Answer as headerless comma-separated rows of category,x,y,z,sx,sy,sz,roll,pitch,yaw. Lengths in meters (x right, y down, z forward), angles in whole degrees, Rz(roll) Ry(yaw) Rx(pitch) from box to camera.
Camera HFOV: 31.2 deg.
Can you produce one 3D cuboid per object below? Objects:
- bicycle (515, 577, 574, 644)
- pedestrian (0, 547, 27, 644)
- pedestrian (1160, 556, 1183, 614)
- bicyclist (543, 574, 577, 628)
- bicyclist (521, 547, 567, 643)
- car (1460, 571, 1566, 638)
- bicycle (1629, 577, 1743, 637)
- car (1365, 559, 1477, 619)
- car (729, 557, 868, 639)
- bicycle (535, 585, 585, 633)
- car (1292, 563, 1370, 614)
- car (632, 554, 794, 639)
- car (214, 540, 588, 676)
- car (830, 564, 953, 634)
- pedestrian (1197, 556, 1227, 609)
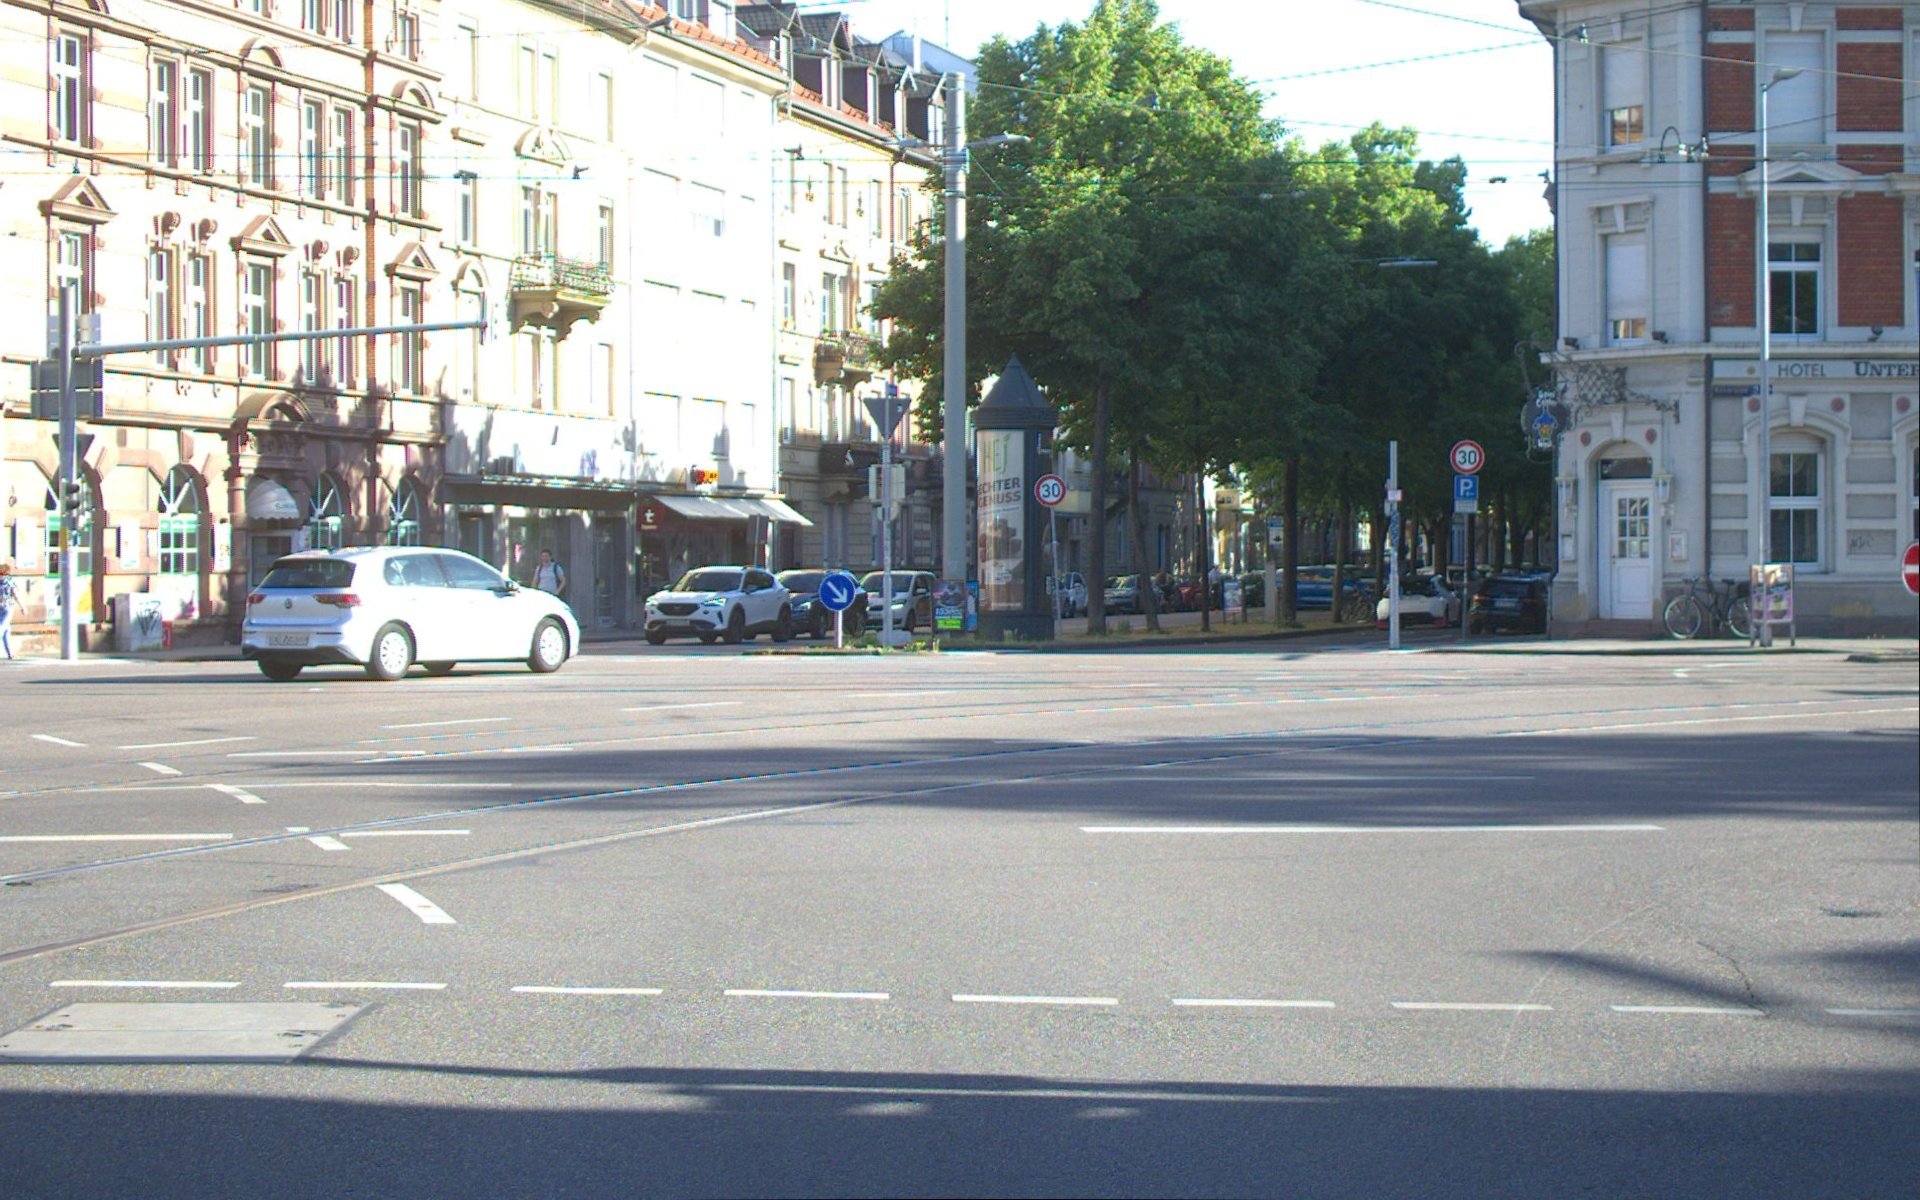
bicycle,-7.864,0.197,65.047,0.565,1.250,1.556,1,0,14
pedestrian,-15.946,-0.083,57.076,0.668,1.589,0.815,1,0,-1
pedestrian,7.466,-0.535,121.299,0.752,2.007,0.999,1,0,3
bicyclist,-7.830,0.016,67.308,0.473,1.036,0.537,1,0,15
bicyclist,-7.868,-0.098,65.048,0.565,1.797,0.913,1,0,14
car,13.293,0.095,82.526,1.758,1.550,3.996,1,1,20
bicycle,12.066,0.107,57.134,1.804,0.959,0.603,1,0,14
car,12.193,-0.308,90.724,1.894,1.449,4.004,0,2,24
car,-3.425,-0.055,73.617,1.826,1.679,3.872,1,1,16
bicycle,-7.832,0.175,67.299,0.473,0.919,1.451,1,1,14
car,12.612,-0.407,116.625,1.995,1.678,3.997,1,1,15
car,-4.792,-0.084,67.275,1.804,1.579,4.156,1,1,17
car,-6.069,0.049,37.780,1.732,1.385,4.221,0,1,31
car,-1.564,-0.039,79.754,1.804,1.570,3.888,1,1,15
pedestrian,8.488,-0.583,115.733,0.709,1.784,0.697,1,0,-36
